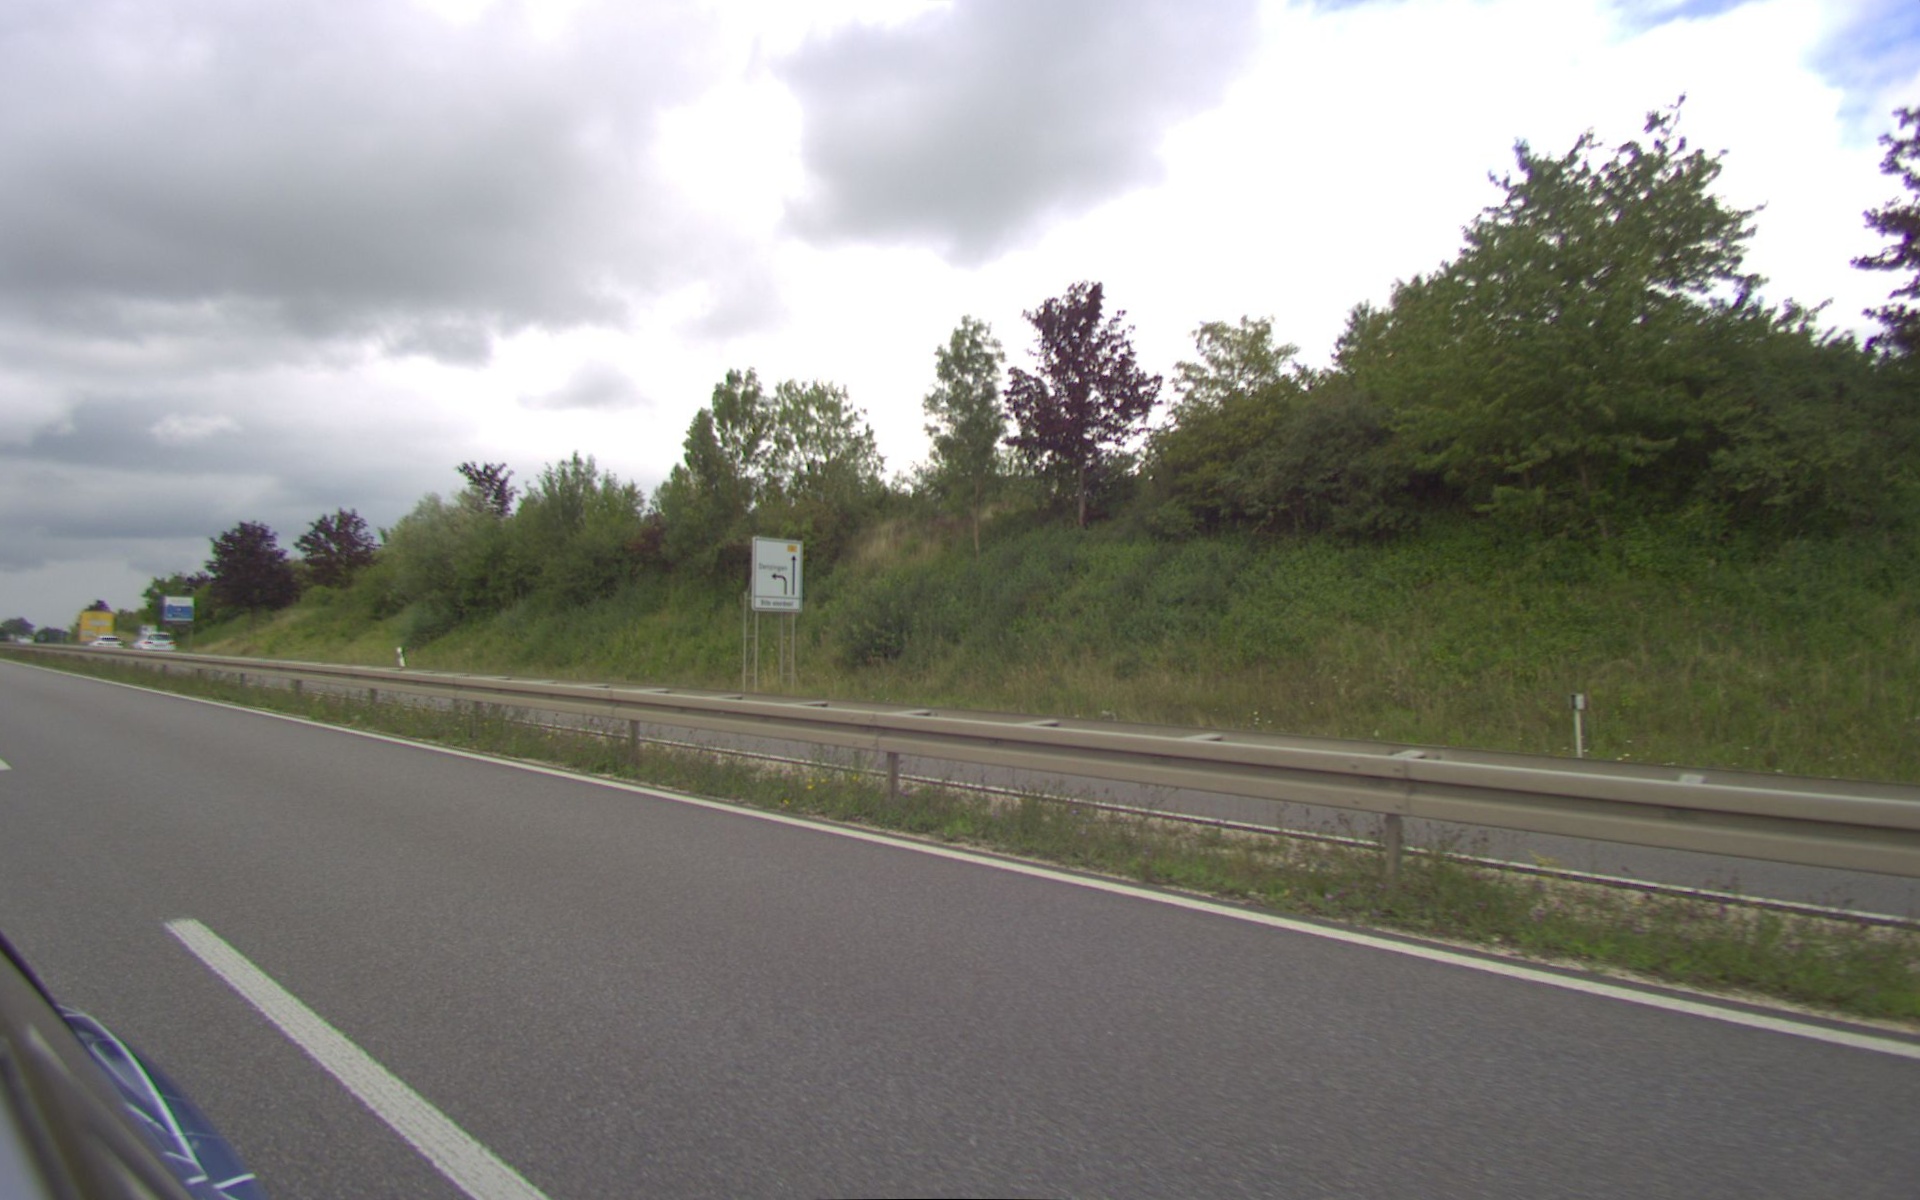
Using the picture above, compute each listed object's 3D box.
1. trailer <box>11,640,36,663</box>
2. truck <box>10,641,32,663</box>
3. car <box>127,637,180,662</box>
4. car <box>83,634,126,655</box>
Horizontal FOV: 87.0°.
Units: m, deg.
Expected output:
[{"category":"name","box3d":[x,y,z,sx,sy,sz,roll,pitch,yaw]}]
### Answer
[{"category":"trailer","box3d":[-170.916,9.416,184.596,2.743,3.977,12.991,2,-5,-45]},{"category":"truck","box3d":[-175.906,9.802,189.650,2.770,4.028,5.289,2,-5,-44]},{"category":"car","box3d":[-51.271,3.158,64.323,4.461,1.529,1.900,-4,-4,41]},{"category":"car","box3d":[-67.838,3.529,80.196,4.987,1.529,1.972,-4,-4,42]}]
